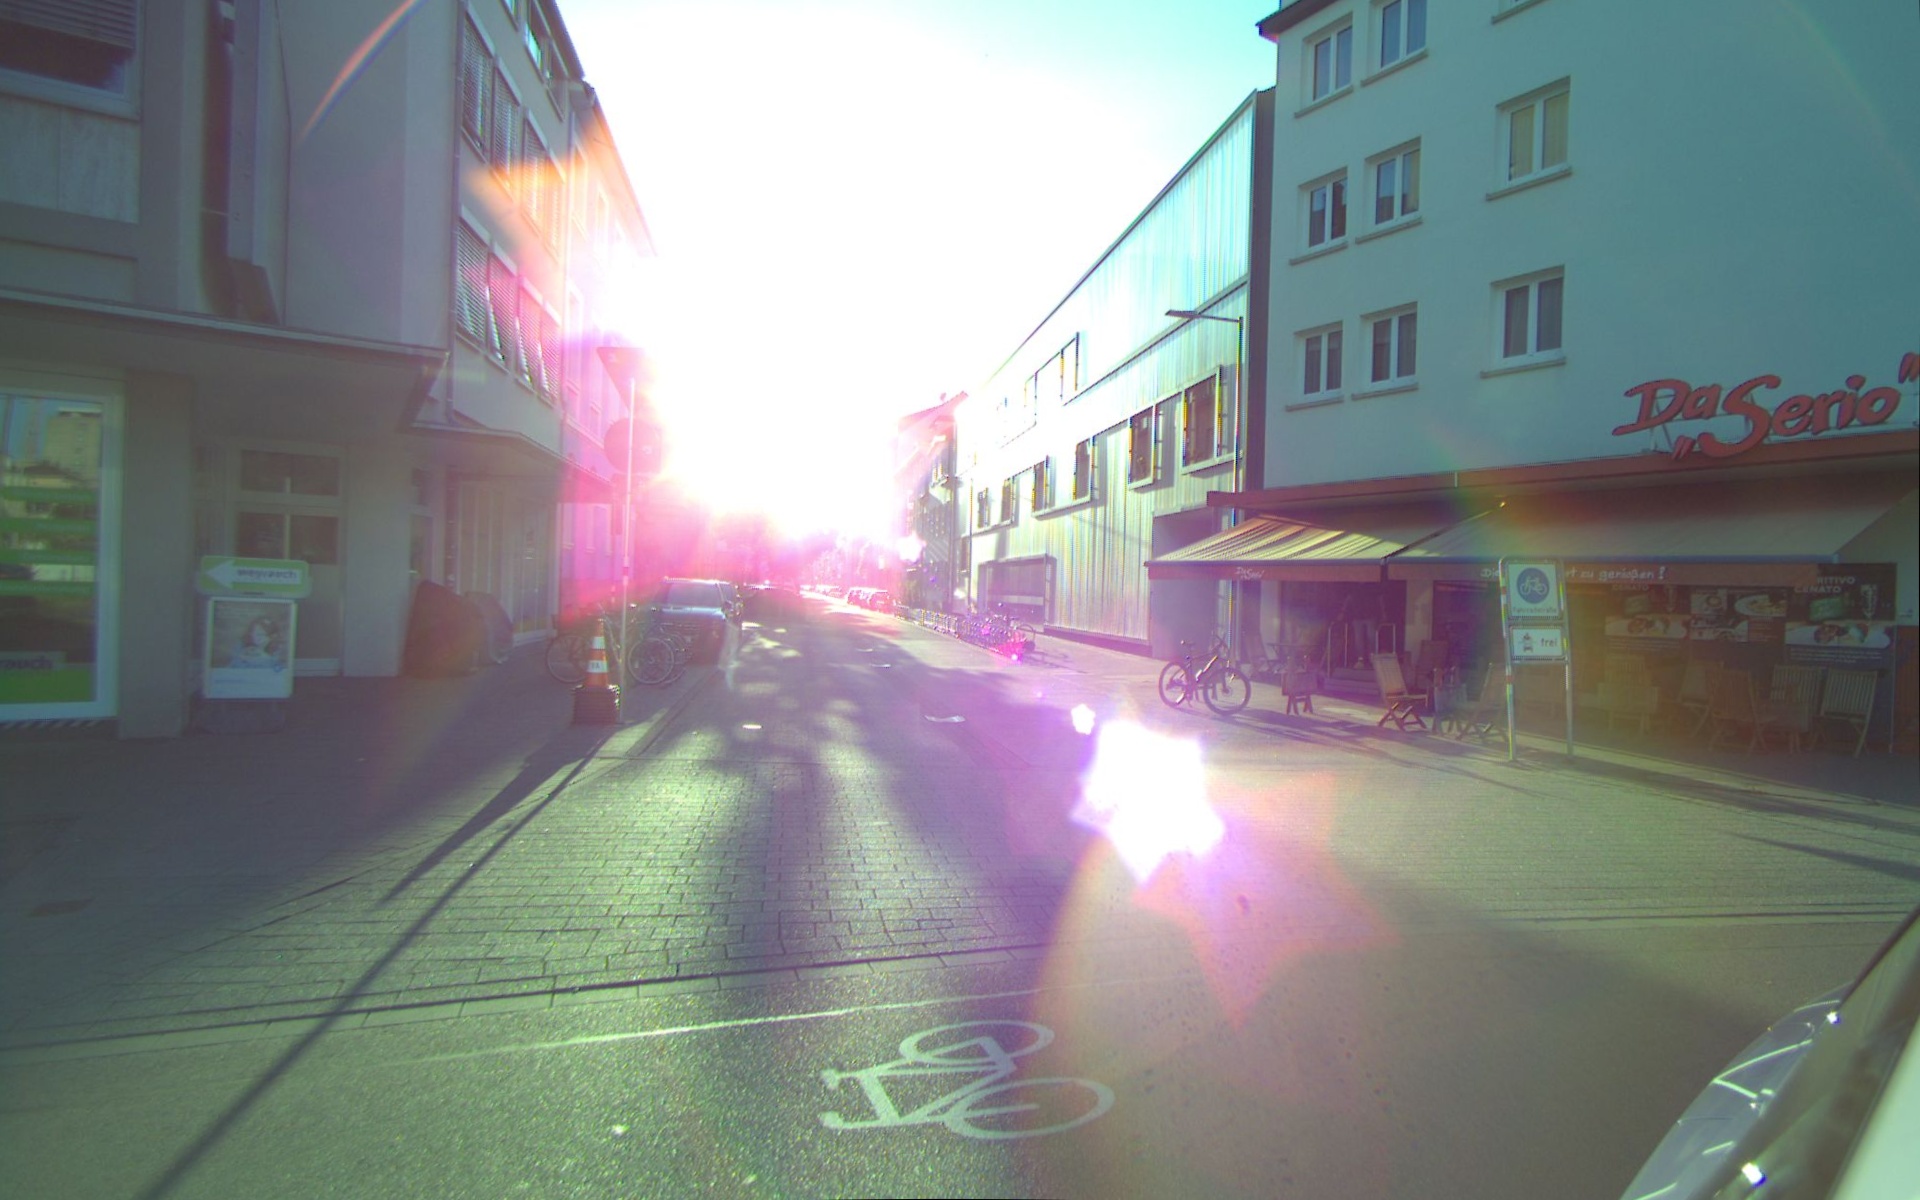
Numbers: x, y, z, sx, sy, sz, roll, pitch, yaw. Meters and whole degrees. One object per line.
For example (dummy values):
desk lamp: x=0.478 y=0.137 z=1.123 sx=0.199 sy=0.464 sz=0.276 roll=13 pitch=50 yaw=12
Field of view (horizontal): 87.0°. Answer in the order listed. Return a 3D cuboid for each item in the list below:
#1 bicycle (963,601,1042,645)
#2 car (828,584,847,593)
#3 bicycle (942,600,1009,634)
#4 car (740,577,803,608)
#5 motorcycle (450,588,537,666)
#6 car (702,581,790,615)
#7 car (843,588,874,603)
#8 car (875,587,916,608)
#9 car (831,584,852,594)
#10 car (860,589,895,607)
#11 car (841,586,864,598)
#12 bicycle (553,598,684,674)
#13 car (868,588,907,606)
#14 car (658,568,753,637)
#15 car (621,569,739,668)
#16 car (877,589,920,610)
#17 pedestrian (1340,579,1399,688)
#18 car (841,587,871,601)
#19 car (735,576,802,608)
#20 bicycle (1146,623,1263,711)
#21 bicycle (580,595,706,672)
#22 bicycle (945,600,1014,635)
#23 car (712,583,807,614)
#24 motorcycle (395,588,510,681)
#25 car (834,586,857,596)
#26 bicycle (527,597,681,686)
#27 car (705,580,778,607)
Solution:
bicycle: x=1.264 y=0.682 z=30.078 sx=2.294 sy=1.247 sz=0.607 roll=0 pitch=1 yaw=-15
car: x=-16.941 y=-1.580 z=140.225 sx=2.553 sy=1.262 sz=1.181 roll=1 pitch=-1 yaw=-10
bicycle: x=0.538 y=0.603 z=35.226 sx=2.294 sy=1.155 sz=0.529 roll=1 pitch=-1 yaw=-15
car: x=-13.138 y=-0.504 z=70.538 sx=3.925 sy=2.039 sz=1.844 roll=1 pitch=-1 yaw=-37
motorcycle: x=-7.604 y=0.402 z=16.608 sx=0.724 sy=1.172 sz=2.279 roll=2 pitch=0 yaw=-10
car: x=-10.881 y=-0.068 z=51.483 sx=3.925 sy=1.639 sz=1.999 roll=1 pitch=-1 yaw=-37
car: x=-9.089 y=-0.386 z=90.824 sx=2.633 sy=1.262 sz=1.451 roll=1 pitch=-1 yaw=-10
car: x=-4.293 y=-0.147 z=67.593 sx=2.634 sy=1.377 sz=1.451 roll=0 pitch=-1 yaw=-7
car: x=-15.082 y=-1.424 z=129.061 sx=2.633 sy=1.295 sz=1.267 roll=1 pitch=-1 yaw=-10
car: x=-6.344 y=-0.141 z=77.627 sx=2.533 sy=1.317 sz=1.300 roll=1 pitch=-1 yaw=-9
car: x=-12.625 y=-0.966 z=118.768 sx=2.633 sy=1.262 sz=1.452 roll=2 pitch=0 yaw=-10
bicycle: x=-5.262 y=0.552 z=15.689 sx=1.879 sy=1.127 sz=0.630 roll=1 pitch=-1 yaw=-15
car: x=-5.208 y=-0.230 z=72.569 sx=2.634 sy=1.262 sz=1.451 roll=0 pitch=-1 yaw=-7
car: x=-7.102 y=0.046 z=28.620 sx=1.960 sy=1.641 sz=4.268 roll=5 pitch=0 yaw=-7
car: x=-5.787 y=0.338 z=21.407 sx=1.880 sy=1.773 sz=4.446 roll=3 pitch=0 yaw=-10
car: x=-3.895 y=-0.014 z=64.141 sx=2.634 sy=1.262 sz=1.451 roll=0 pitch=-1 yaw=-7
pedestrian: x=7.201 y=0.567 z=17.805 sx=0.750 sy=1.849 sz=0.714 roll=0 pitch=0 yaw=-44
car: x=-9.826 y=-0.527 z=95.581 sx=2.633 sy=1.262 sz=1.406 roll=1 pitch=-1 yaw=-10
car: x=-12.743 y=-0.504 z=67.372 sx=3.925 sy=2.002 sz=1.865 roll=1 pitch=-1 yaw=-37
bicycle: x=3.616 y=0.957 z=15.123 sx=0.525 sy=1.174 sz=1.913 roll=1 pitch=0 yaw=-29
bicycle: x=-5.218 y=0.563 z=16.760 sx=1.879 sy=1.127 sz=0.630 roll=4 pitch=-2 yaw=-15
bicycle: x=0.679 y=0.601 z=34.659 sx=2.294 sy=1.159 sz=0.530 roll=1 pitch=-1 yaw=-15
car: x=-9.600 y=-0.069 z=48.633 sx=1.993 sy=1.362 sz=4.089 roll=2 pitch=1 yaw=42
motorcycle: x=-7.099 y=0.438 z=14.290 sx=0.793 sy=1.183 sz=2.299 roll=1 pitch=0 yaw=-10
car: x=-13.923 y=-1.100 z=122.837 sx=2.633 sy=1.183 sz=1.452 roll=2 pitch=0 yaw=-10
bicycle: x=-5.008 y=0.592 z=14.370 sx=1.964 sy=1.127 sz=0.586 roll=4 pitch=0 yaw=-15
car: x=-13.632 y=-0.411 z=63.187 sx=3.925 sy=1.527 sz=2.000 roll=1 pitch=1 yaw=-37
